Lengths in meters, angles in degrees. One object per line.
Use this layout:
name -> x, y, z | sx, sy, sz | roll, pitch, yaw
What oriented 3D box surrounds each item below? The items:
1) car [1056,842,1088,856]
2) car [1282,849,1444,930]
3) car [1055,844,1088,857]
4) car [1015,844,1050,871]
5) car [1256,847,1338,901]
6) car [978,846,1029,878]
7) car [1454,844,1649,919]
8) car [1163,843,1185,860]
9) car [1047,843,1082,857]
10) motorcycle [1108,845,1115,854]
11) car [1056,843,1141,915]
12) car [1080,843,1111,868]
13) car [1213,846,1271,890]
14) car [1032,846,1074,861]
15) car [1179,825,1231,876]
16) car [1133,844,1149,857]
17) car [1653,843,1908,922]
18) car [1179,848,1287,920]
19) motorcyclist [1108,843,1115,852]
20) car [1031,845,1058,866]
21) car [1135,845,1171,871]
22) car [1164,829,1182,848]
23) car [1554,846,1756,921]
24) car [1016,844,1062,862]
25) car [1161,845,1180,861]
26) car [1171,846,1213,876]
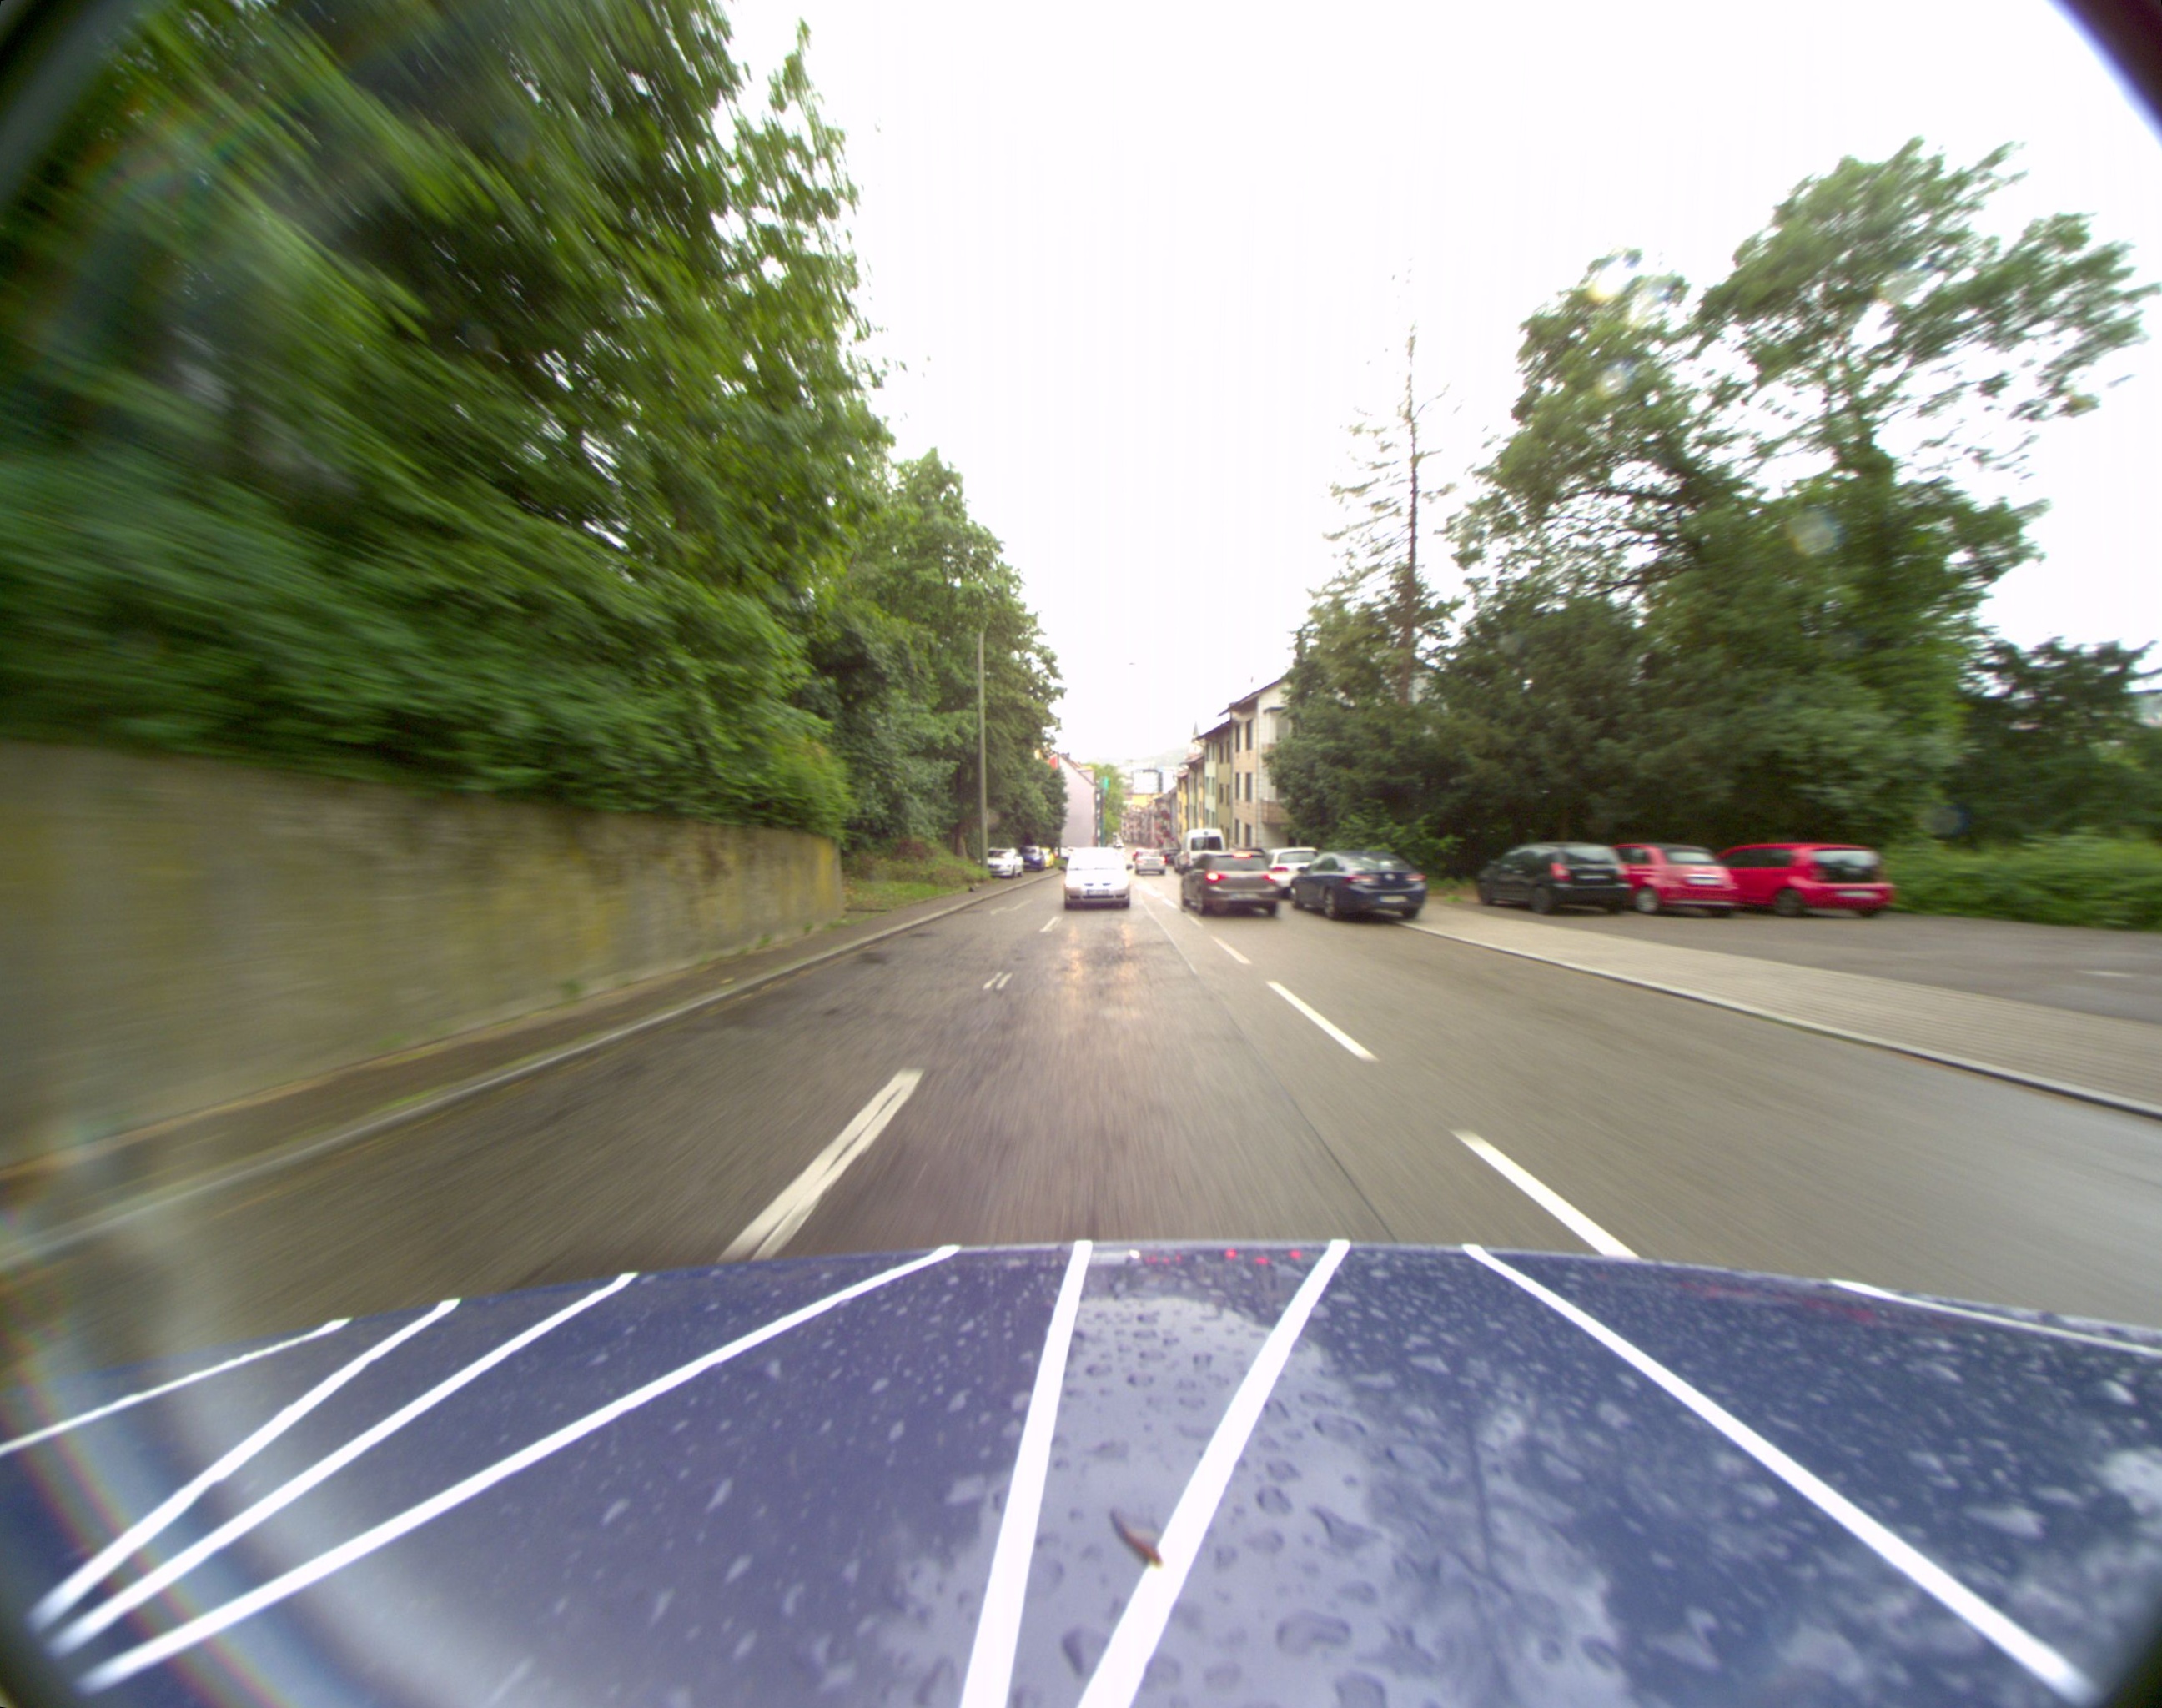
car -> -1.215, -0.630, 102.099 | 4.192, 1.635, 1.803 | 3, 2, 3
car -> 6.171, 0.675, 17.317 | 1.864, 1.485, 4.755 | 3, 1, 0
car -> -1.235, -0.434, 99.662 | 4.192, 1.565, 1.803 | 3, 1, 3
car -> -3.124, 0.165, 49.403 | 1.769, 1.614, 4.679 | 0, 1, 2
car -> 6.652, 0.552, 23.840 | 1.659, 1.560, 4.149 | 0, 1, 4
car -> -3.855, 0.349, 38.633 | 1.742, 1.469, 4.740 | 2, 1, 4
car -> 10.277, 0.519, 17.056 | 1.727, 1.450, 4.396 | 0, 1, 1
car -> 8.693, -0.253, 71.114 | 1.696, 1.585, 4.000 | 1, 1, 3
car -> -2.061, -0.486, 94.772 | 4.192, 1.565, 1.803 | 3, 1, 3
motorcycle -> 4.015, -0.567, 99.256 | 0.778, 1.120, 2.300 | -2, 1, 6
car -> 0.573, 0.555, 19.708 | 1.825, 1.604, 4.190 | -1, 1, 6
car -> 1.044, 0.078, 52.960 | 1.998, 1.604, 3.967 | -1, 1, 3
car -> 6.391, 0.488, 30.476 | 1.648, 1.595, 4.186 | 2, 1, 4
car -> -2.920, -0.056, 80.323 | 4.192, 1.408, 1.803 | 1, 1, 3
car -> 6.646, -0.201, 41.340 | 2.122, 2.536, 5.444 | 2, 1, 3
car -> 7.851, -0.517, 99.735 | 1.940, 1.615, 4.500 | 0, 1, 4
car -> 14.610, 0.504, 16.250 | 1.599, 1.450, 4.242 | 0, 1, 1
car -> 3.466, 0.621, 18.039 | 1.765, 1.482, 3.999 | 1, 1, 0
motorcyclist -> 4.002, -0.835, 99.225 | 0.778, 1.120, 0.549 | -2, 1, 5
car -> -2.715, 0.095, 56.939 | 1.567, 1.459, 3.899 | 2, 1, 4
car -> 4.220, 0.198, 45.140 | 1.729, 1.427, 3.911 | 2, 1, 0
car -> 12.826, -2.105, 106.181 | 2.122, 2.536, 5.444 | 2, 1, 3
car -> 12.314, 0.551, 16.648 | 1.625, 1.450, 3.774 | 0, 1, 1
car -> -3.974, -0.082, 72.308 | 4.192, 1.585, 1.803 | -1, 1, 3
car -> 9.242, -0.126, 78.693 | 1.687, 1.585, 4.056 | 1, 1, 3
car -> 6.949, 0.382, 47.981 | 1.970, 1.730, 4.885 | 1, 1, 1
